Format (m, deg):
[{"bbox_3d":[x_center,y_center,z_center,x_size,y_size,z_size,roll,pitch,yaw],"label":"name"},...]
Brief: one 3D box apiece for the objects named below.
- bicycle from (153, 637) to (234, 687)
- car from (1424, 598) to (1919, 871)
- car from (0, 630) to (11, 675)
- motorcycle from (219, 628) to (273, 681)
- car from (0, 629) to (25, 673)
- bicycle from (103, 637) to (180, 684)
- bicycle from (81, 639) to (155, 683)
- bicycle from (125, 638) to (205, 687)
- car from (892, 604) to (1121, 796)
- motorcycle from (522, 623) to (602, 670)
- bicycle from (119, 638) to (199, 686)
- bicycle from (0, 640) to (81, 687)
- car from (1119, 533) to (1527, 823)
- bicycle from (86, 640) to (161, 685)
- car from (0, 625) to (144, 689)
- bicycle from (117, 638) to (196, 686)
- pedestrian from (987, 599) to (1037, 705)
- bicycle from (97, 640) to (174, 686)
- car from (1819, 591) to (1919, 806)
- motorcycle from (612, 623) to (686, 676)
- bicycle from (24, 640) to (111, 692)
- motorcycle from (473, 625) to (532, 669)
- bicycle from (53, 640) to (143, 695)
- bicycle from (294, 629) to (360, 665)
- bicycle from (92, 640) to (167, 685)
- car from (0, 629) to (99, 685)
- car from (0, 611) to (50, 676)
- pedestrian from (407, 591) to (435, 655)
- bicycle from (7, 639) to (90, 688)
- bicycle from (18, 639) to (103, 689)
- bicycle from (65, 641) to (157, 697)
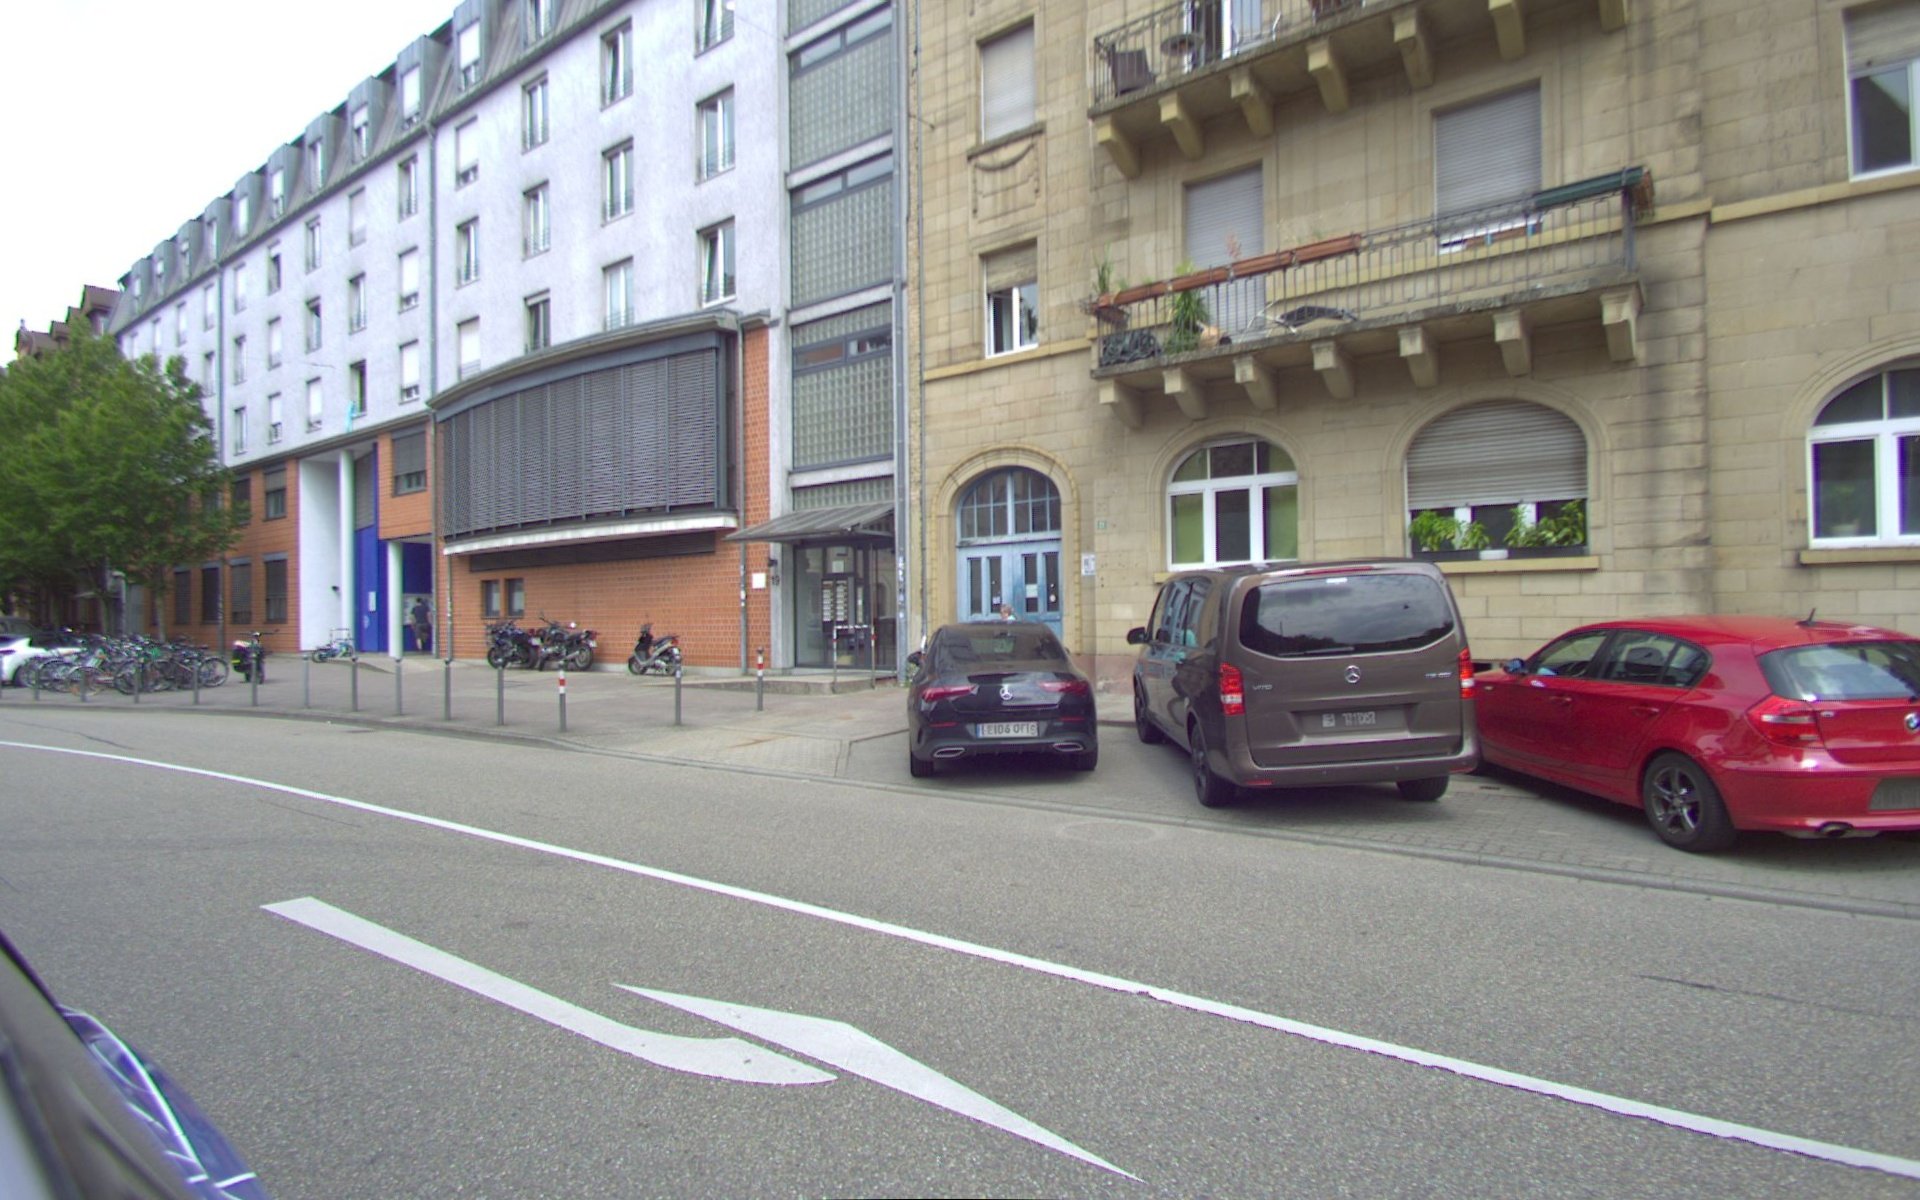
[{"bbox_3d":[-17.061,1.365,22.542,0.401,1.034,1.392,-2,-1,39],"label":"bicycle"},{"bbox_3d":[5.294,0.739,7.350,1.770,1.420,4.015,-1,-1,-3],"label":"car"},{"bbox_3d":[-35.517,1.882,34.923,1.690,1.627,4.001,-2,-1,4],"label":"car"},{"bbox_3d":[-16.740,1.272,23.714,1.777,1.181,0.578,-2,0,40],"label":"motorcycle"},{"bbox_3d":[-33.380,1.732,33.183,1.604,1.457,4.001,-2,-1,4],"label":"car"},{"bbox_3d":[-19.612,1.434,24.271,0.401,1.034,1.392,-2,-1,39],"label":"bicycle"},{"bbox_3d":[-21.349,1.525,25.688,0.401,1.034,1.392,-2,-1,39],"label":"bicycle"},{"bbox_3d":[-18.164,1.412,23.141,0.401,1.034,1.392,-2,-1,39],"label":"bicycle"},{"bbox_3d":[0.336,0.853,10.864,1.873,1.420,4.673,-2,1,-1],"label":"car"},{"bbox_3d":[-9.423,1.107,23.940,1.957,1.056,0.580,-2,0,27],"label":"motorcycle"},{"bbox_3d":[-18.572,1.432,23.488,0.401,1.034,1.392,-2,-1,39],"label":"bicycle"},{"bbox_3d":[-22.257,1.523,24.516,0.401,1.034,1.392,-2,1,39],"label":"bicycle"},{"bbox_3d":[2.832,0.582,9.426,2.094,1.924,5.265,-1,-1,3],"label":"car"},{"bbox_3d":[-20.973,1.552,25.397,0.401,1.034,1.392,-2,-1,39],"label":"bicycle"},{"bbox_3d":[-24.230,1.464,26.963,1.582,1.557,4.000,-1,-1,4],"label":"car"},{"bbox_3d":[-18.915,1.448,23.837,0.401,1.034,1.392,-2,-1,39],"label":"bicycle"},{"bbox_3d":[0.752,0.740,14.623,0.506,1.497,0.657,-1,-1,24],"label":"pedestrian"},{"bbox_3d":[-19.994,1.516,24.566,0.401,1.034,1.392,-2,-1,39],"label":"bicycle"},{"bbox_3d":[7.502,0.657,5.912,1.610,1.514,3.993,-1,-1,2],"label":"car"},{"bbox_3d":[-6.620,1.039,21.518,1.791,1.056,0.578,-2,0,39],"label":"motorcycle"},{"bbox_3d":[-20.119,1.463,22.837,0.401,1.046,1.392,-2,1,39],"label":"bicycle"},{"bbox_3d":[-11.438,1.175,25.276,1.654,1.056,0.578,-2,0,37],"label":"motorcycle"},{"bbox_3d":[-18.471,1.431,21.702,0.401,1.046,1.392,-2,1,39],"label":"bicycle"},{"bbox_3d":[-20.078,1.471,32.096,1.591,0.933,0.933,-7,3,-41],"label":"bicycle"},{"bbox_3d":[-20.520,1.523,25.019,0.401,1.034,1.392,-2,-1,39],"label":"bicycle"},{"bbox_3d":[-26.582,1.576,28.002,1.695,1.480,4.311,-1,-1,4],"label":"car"},{"bbox_3d":[-31.156,1.389,31.494,1.839,2.013,3.998,-1,0,6],"label":"car"},{"bbox_3d":[-17.454,0.734,32.764,0.718,2.029,0.784,0,-2,-33],"label":"pedestrian"},{"bbox_3d":[-21.624,1.487,24.017,0.401,1.034,1.392,-2,1,39],"label":"bicycle"},{"bbox_3d":[-20.628,1.450,23.227,0.401,1.034,1.392,-2,1,39],"label":"bicycle"},{"bbox_3d":[-17.752,1.423,21.177,0.401,1.046,1.392,-2,1,39],"label":"bicycle"}]
